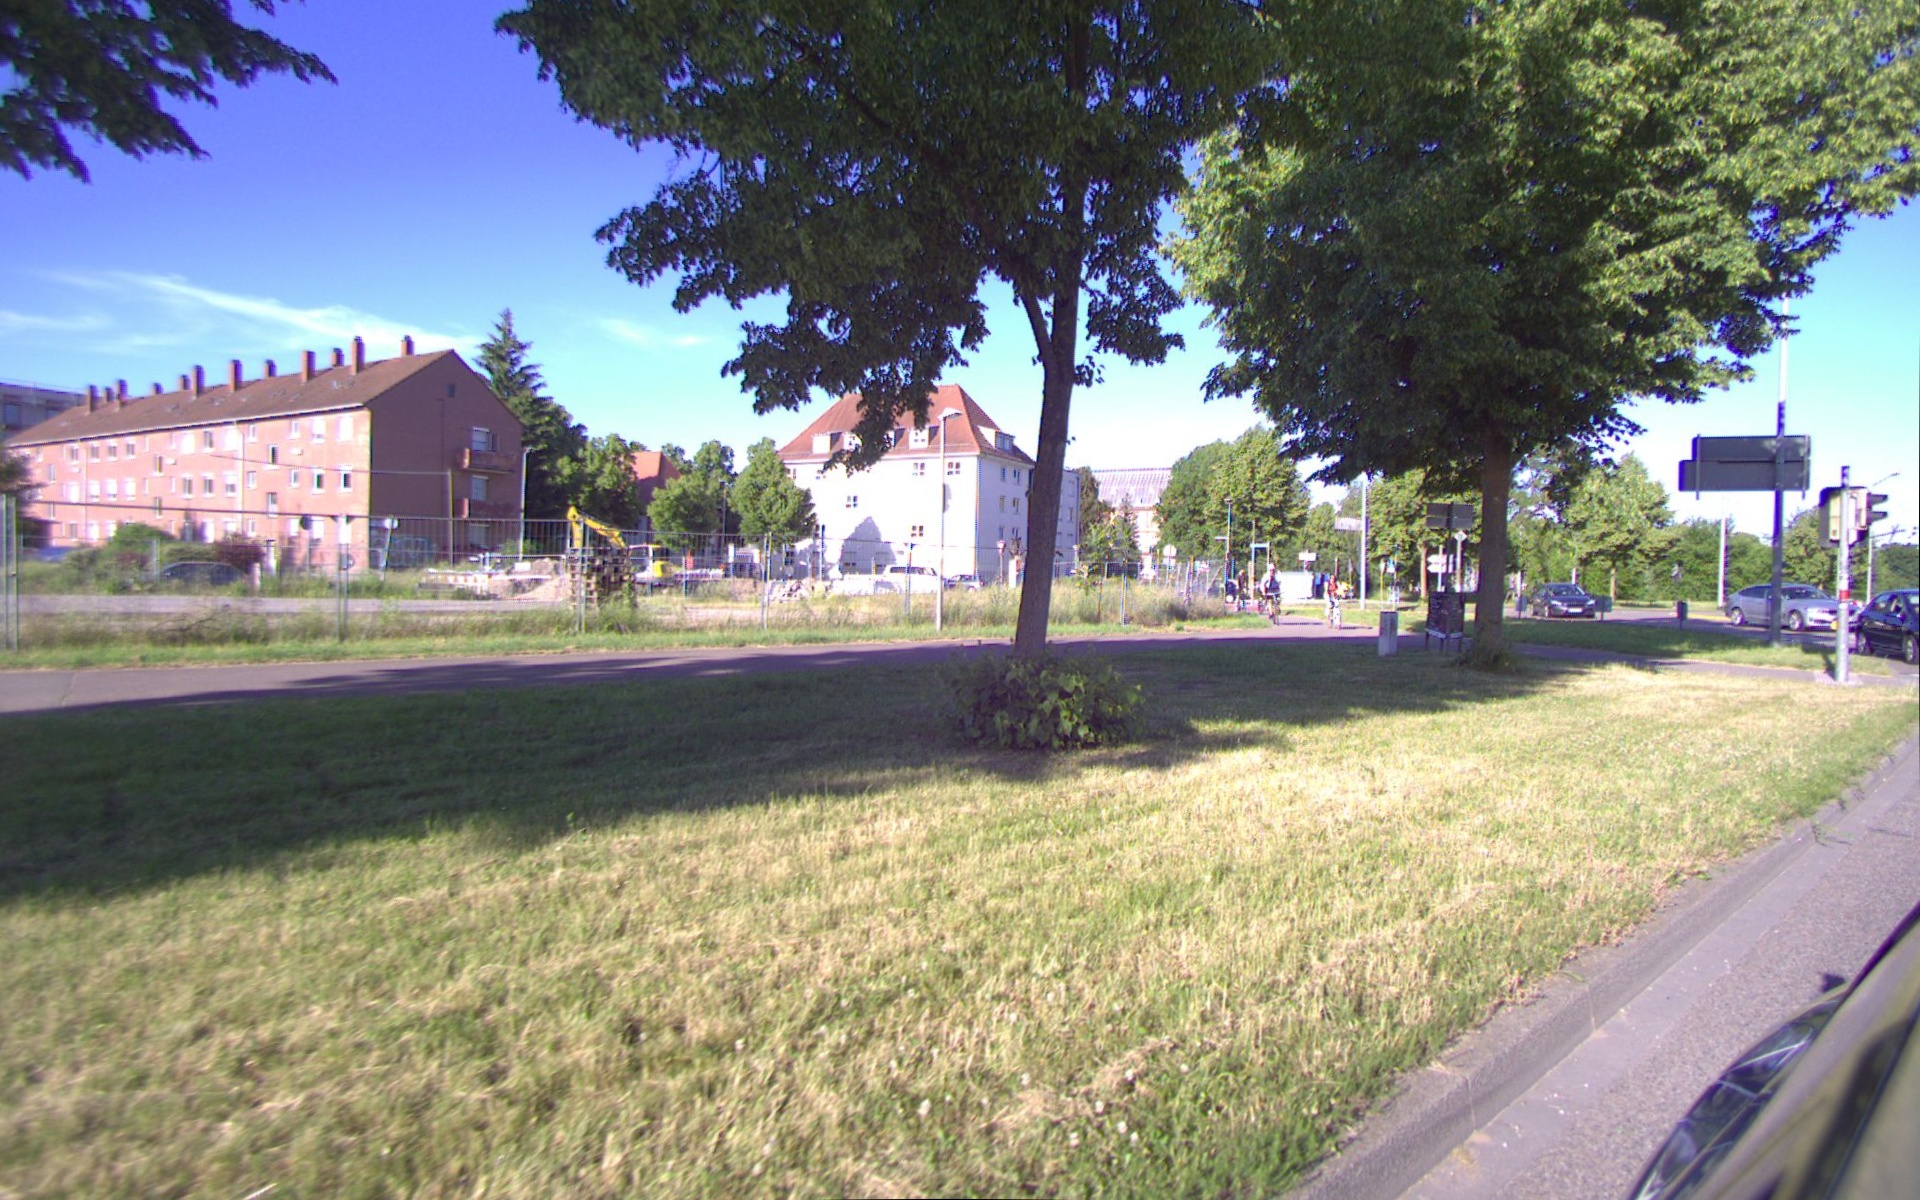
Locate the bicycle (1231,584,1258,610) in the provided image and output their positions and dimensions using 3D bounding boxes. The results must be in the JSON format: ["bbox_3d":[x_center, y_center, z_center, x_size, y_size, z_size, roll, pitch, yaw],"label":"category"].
[{"bbox_3d":[11.216,-0.139,39.947,0.582,0.972,1.900,0,2,1],"label":"bicycle"}]

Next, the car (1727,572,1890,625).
[{"bbox_3d":[27.784,-0.099,33.374,1.818,1.588,4.522,1,2,6],"label":"car"}]

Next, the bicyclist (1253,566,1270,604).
[{"bbox_3d":[12.237,-0.628,41.074,0.463,1.504,0.915,0,2,5],"label":"bicyclist"}]

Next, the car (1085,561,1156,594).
[{"bbox_3d":[9.301,-1.314,58.783,3.541,1.772,2.000,2,2,35],"label":"car"}]

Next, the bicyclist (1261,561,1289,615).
[{"bbox_3d":[9.369,-0.360,30.086,0.644,1.572,0.793,1,1,8],"label":"bicyclist"}]

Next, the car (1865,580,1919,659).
[{"bbox_3d":[20.625,0.382,21.015,1.747,1.533,3.912,1,2,27],"label":"car"}]

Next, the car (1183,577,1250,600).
[{"bbox_3d":[16.101,-0.755,63.715,3.934,1.394,1.753,0,2,10],"label":"car"}]

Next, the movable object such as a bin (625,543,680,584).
[{"bbox_3d":[-15.710,-1.875,51.813,2.034,2.038,1.996,0,2,9],"label":"movable object such as a bin"}]

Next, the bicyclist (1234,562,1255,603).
[{"bbox_3d":[11.217,-0.691,39.904,0.582,1.606,0.965,0,2,2],"label":"bicyclist"}]

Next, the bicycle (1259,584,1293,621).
[{"bbox_3d":[9.359,0.057,30.014,0.646,1.025,1.816,1,1,8],"label":"bicycle"}]

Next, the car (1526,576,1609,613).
[{"bbox_3d":[25.897,-0.271,43.314,1.822,1.445,3.934,1,2,12],"label":"car"}]

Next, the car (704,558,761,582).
[{"bbox_3d":[-18.167,-2.387,80.802,4.219,1.807,1.879,2,1,25],"label":"car"}]

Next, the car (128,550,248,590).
[{"bbox_3d":[-31.754,-1.217,41.682,3.840,1.576,1.998,0,2,-40],"label":"car"}]

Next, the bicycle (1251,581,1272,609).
[{"bbox_3d":[12.242,-0.219,41.136,0.471,1.095,1.642,0,2,5],"label":"bicycle"}]

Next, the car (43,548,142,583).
[{"bbox_3d":[-43.670,-1.709,51.048,3.729,1.653,1.898,0,2,-40],"label":"car"}]

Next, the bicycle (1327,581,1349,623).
[{"bbox_3d":[10.895,0.043,29.163,0.501,1.166,1.593,2,1,23],"label":"bicycle"}]

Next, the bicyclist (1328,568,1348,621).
[{"bbox_3d":[10.876,-0.156,29.107,0.499,1.491,0.827,1,1,23],"label":"bicyclist"}]

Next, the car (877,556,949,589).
[{"bbox_3d":[-3.126,-1.842,66.972,4.434,2.038,1.980,2,2,30],"label":"car"}]
